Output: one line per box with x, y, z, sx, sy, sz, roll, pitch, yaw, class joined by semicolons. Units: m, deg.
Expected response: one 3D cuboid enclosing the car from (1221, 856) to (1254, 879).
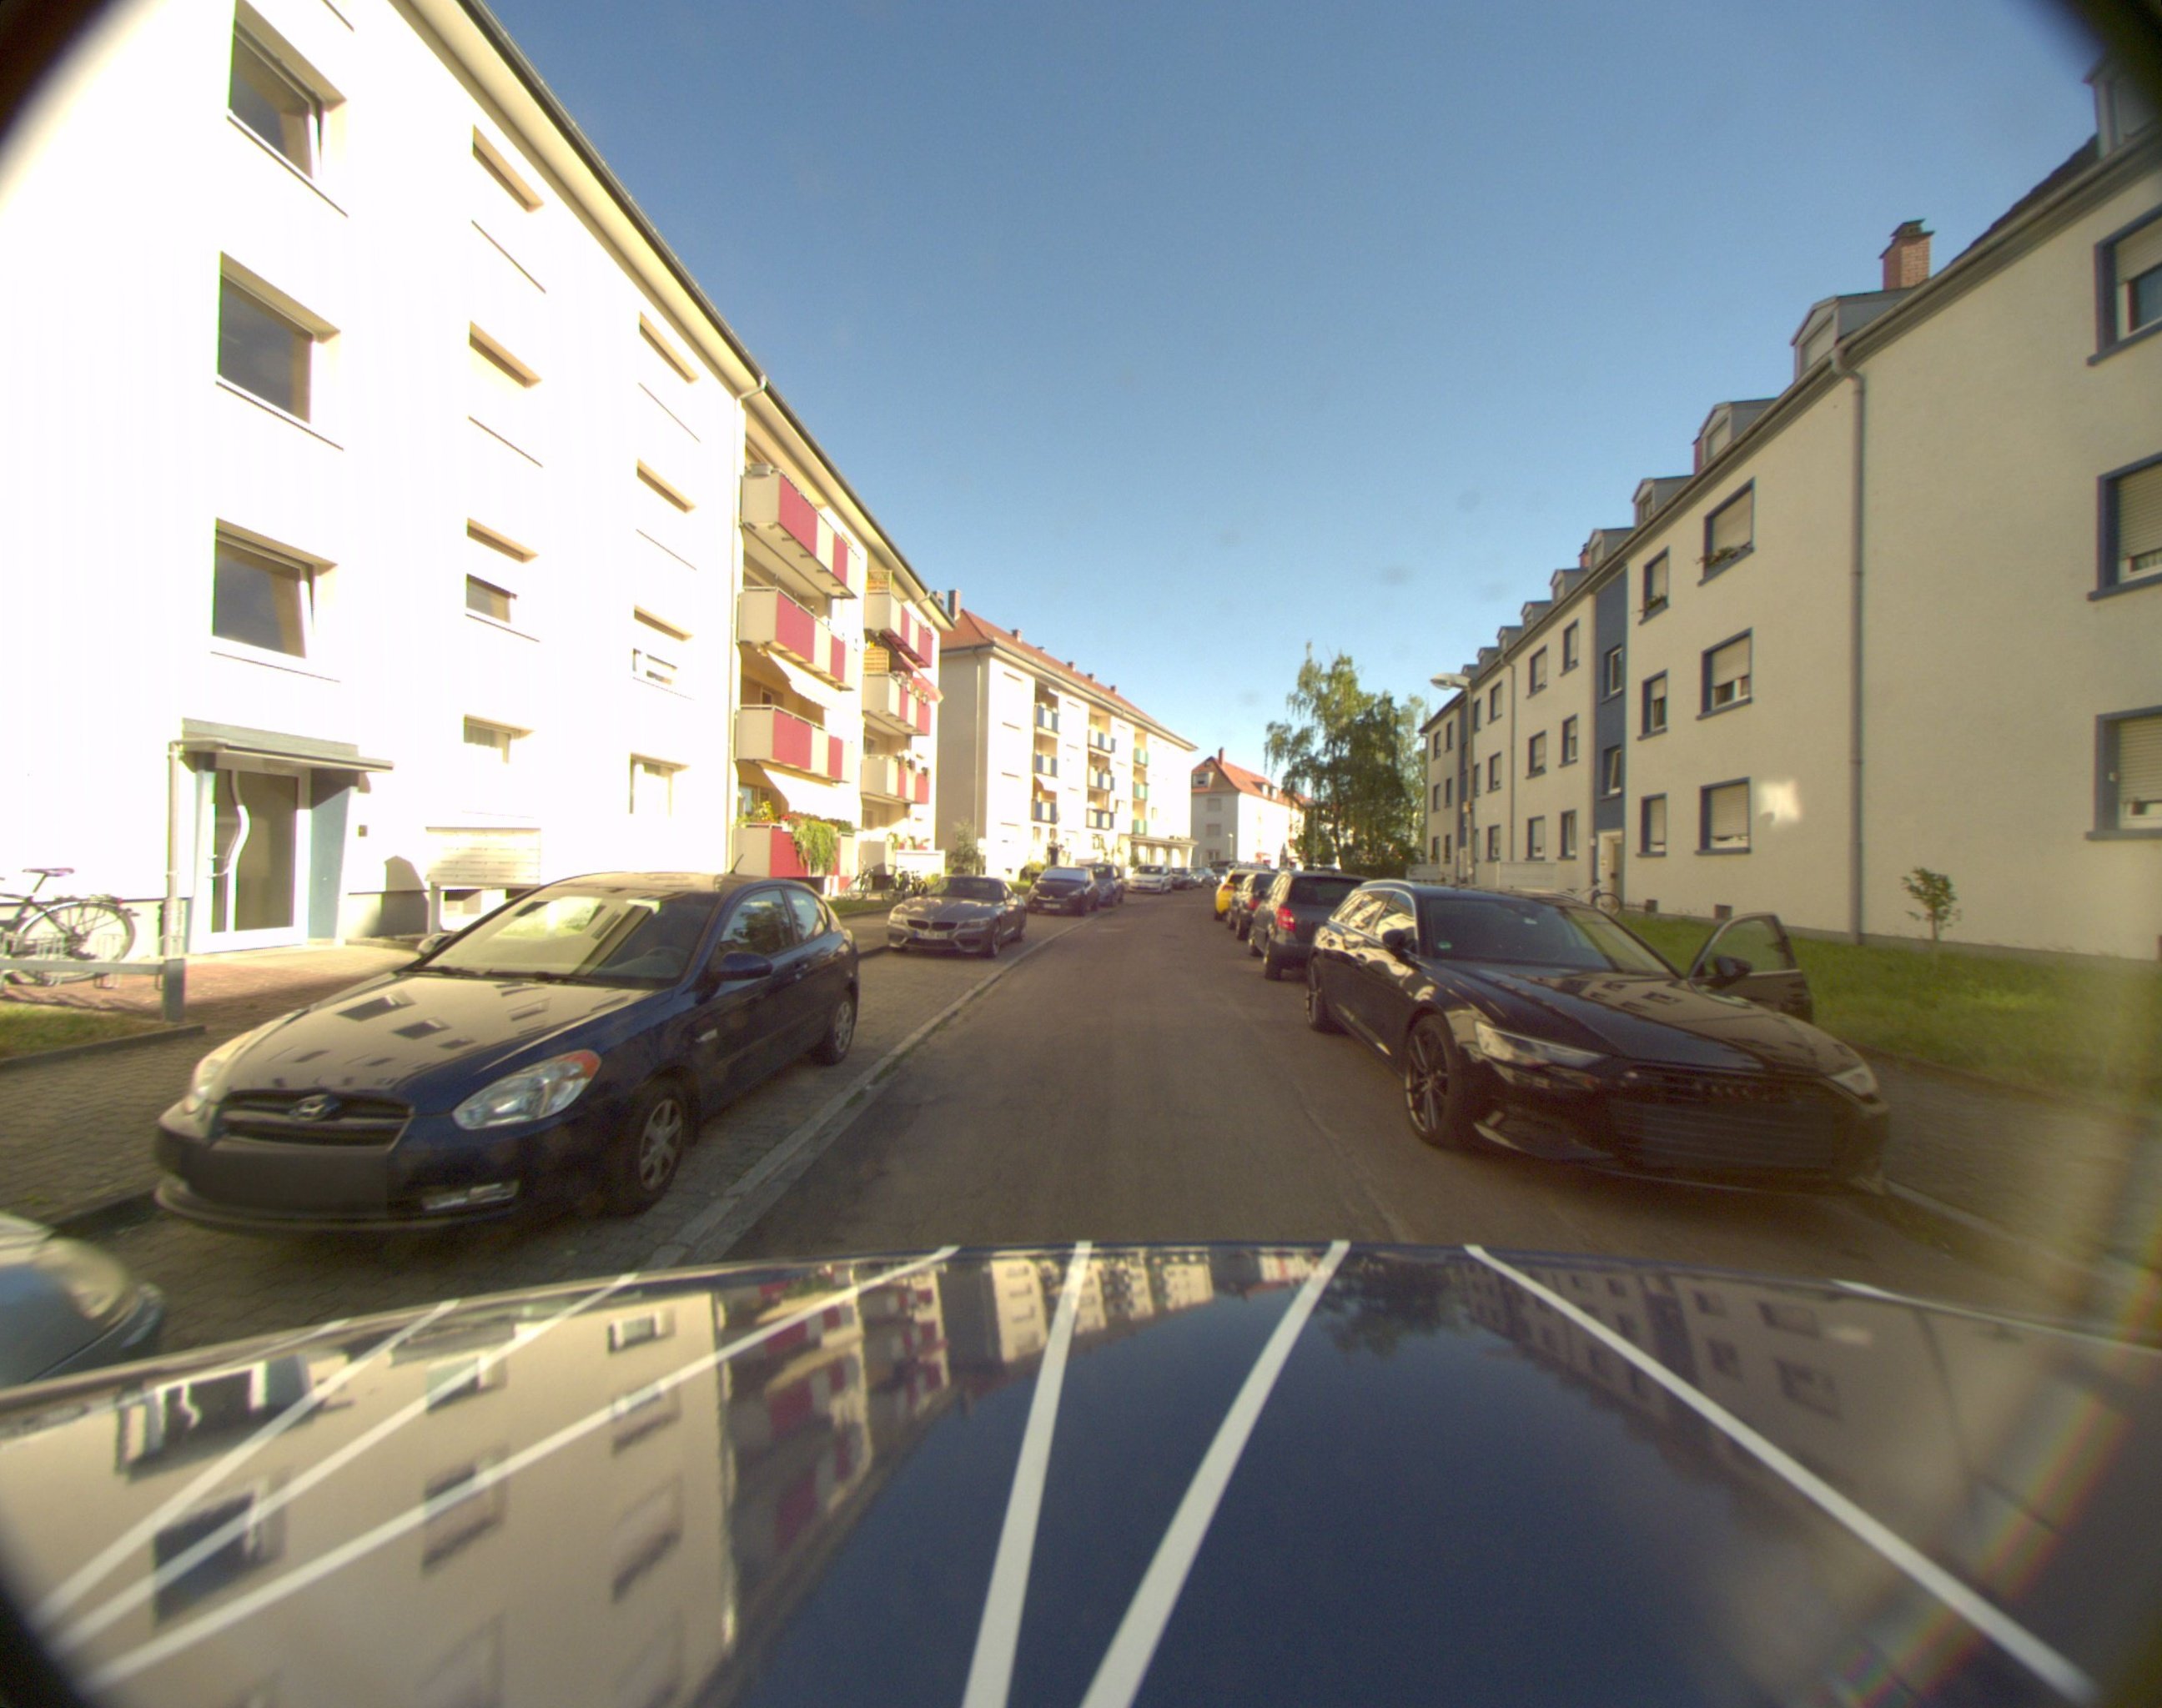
13.253;1.132;64.261;1.748;1.813;4.139;3;0;25;car

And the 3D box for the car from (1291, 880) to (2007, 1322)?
2.828;1.029;5.278;1.747;1.423;4.600;4;0;5;car

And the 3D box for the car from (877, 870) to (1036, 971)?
-2.037;1.058;13.699;1.688;1.355;4.242;4;0;6;car

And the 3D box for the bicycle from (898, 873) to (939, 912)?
-4.676;1.076;21.960;0.498;1.014;1.843;4;0;7;bicycle

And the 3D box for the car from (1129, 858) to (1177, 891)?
4.009;1.052;41.621;1.695;1.646;4.396;2;1;17;car

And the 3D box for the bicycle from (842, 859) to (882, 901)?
-6.367;0.747;22.171;0.408;1.144;1.763;4;0;7;bicycle

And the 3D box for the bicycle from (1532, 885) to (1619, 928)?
13.022;1.374;20.064;1.822;1.072;0.569;-1;-1;19;bicycle

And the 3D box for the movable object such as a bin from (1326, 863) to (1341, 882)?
18.936;1.361;56.913;0.776;1.384;1.420;2;0;27;movable object such as a bin

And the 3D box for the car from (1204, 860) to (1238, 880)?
10.890;1.209;58.993;1.679;1.399;4.553;0;0;22;car

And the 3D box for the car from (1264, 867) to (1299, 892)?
13.328;1.667;50.293;1.679;1.434;4.287;5;1;21;car

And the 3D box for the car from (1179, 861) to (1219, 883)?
8.354;1.255;53.453;1.679;1.438;4.732;0;0;23;car

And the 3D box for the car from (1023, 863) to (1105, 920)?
-0.434;1.101;23.947;1.738;1.499;3.889;4;0;10;car

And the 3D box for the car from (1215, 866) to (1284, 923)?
4.727;1.071;21.715;1.696;1.381;4.161;3;-1;10;car

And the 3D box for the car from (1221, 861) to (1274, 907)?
6.107;1.026;27.715;1.696;1.436;4.025;3;0;13;car

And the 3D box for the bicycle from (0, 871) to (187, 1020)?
-8.426;0.700;5.939;0.651;1.062;1.734;6;-1;4;bicycle

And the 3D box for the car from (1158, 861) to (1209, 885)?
6.523;1.140;47.803;1.695;1.423;4.697;0;0;27;car

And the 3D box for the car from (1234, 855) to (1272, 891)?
9.071;0.951;39.797;1.557;1.704;4.343;5;1;16;car

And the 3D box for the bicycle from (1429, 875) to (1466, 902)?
16.604;1.554;34.421;1.410;1.145;0.416;3;1;12;bicycle

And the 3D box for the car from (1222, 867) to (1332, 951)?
4.064;1.069;16.365;1.572;1.456;4.264;4;0;6;car

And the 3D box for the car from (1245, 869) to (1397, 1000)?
3.365;1.028;11.256;1.481;1.468;3.634;4;0;8;car

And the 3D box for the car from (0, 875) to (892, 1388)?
-2.694;0.959;4.654;1.741;1.423;4.357;4;0;2;car

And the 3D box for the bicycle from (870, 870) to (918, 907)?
-5.429;0.988;22.161;0.618;0.972;1.898;5;-1;8;bicycle

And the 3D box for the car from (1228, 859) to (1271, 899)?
7.366;1.037;33.245;1.696;1.551;4.160;0;0;12;car

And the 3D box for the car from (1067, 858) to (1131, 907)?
0.754;1.026;29.303;1.768;1.626;4.044;3;1;11;car
